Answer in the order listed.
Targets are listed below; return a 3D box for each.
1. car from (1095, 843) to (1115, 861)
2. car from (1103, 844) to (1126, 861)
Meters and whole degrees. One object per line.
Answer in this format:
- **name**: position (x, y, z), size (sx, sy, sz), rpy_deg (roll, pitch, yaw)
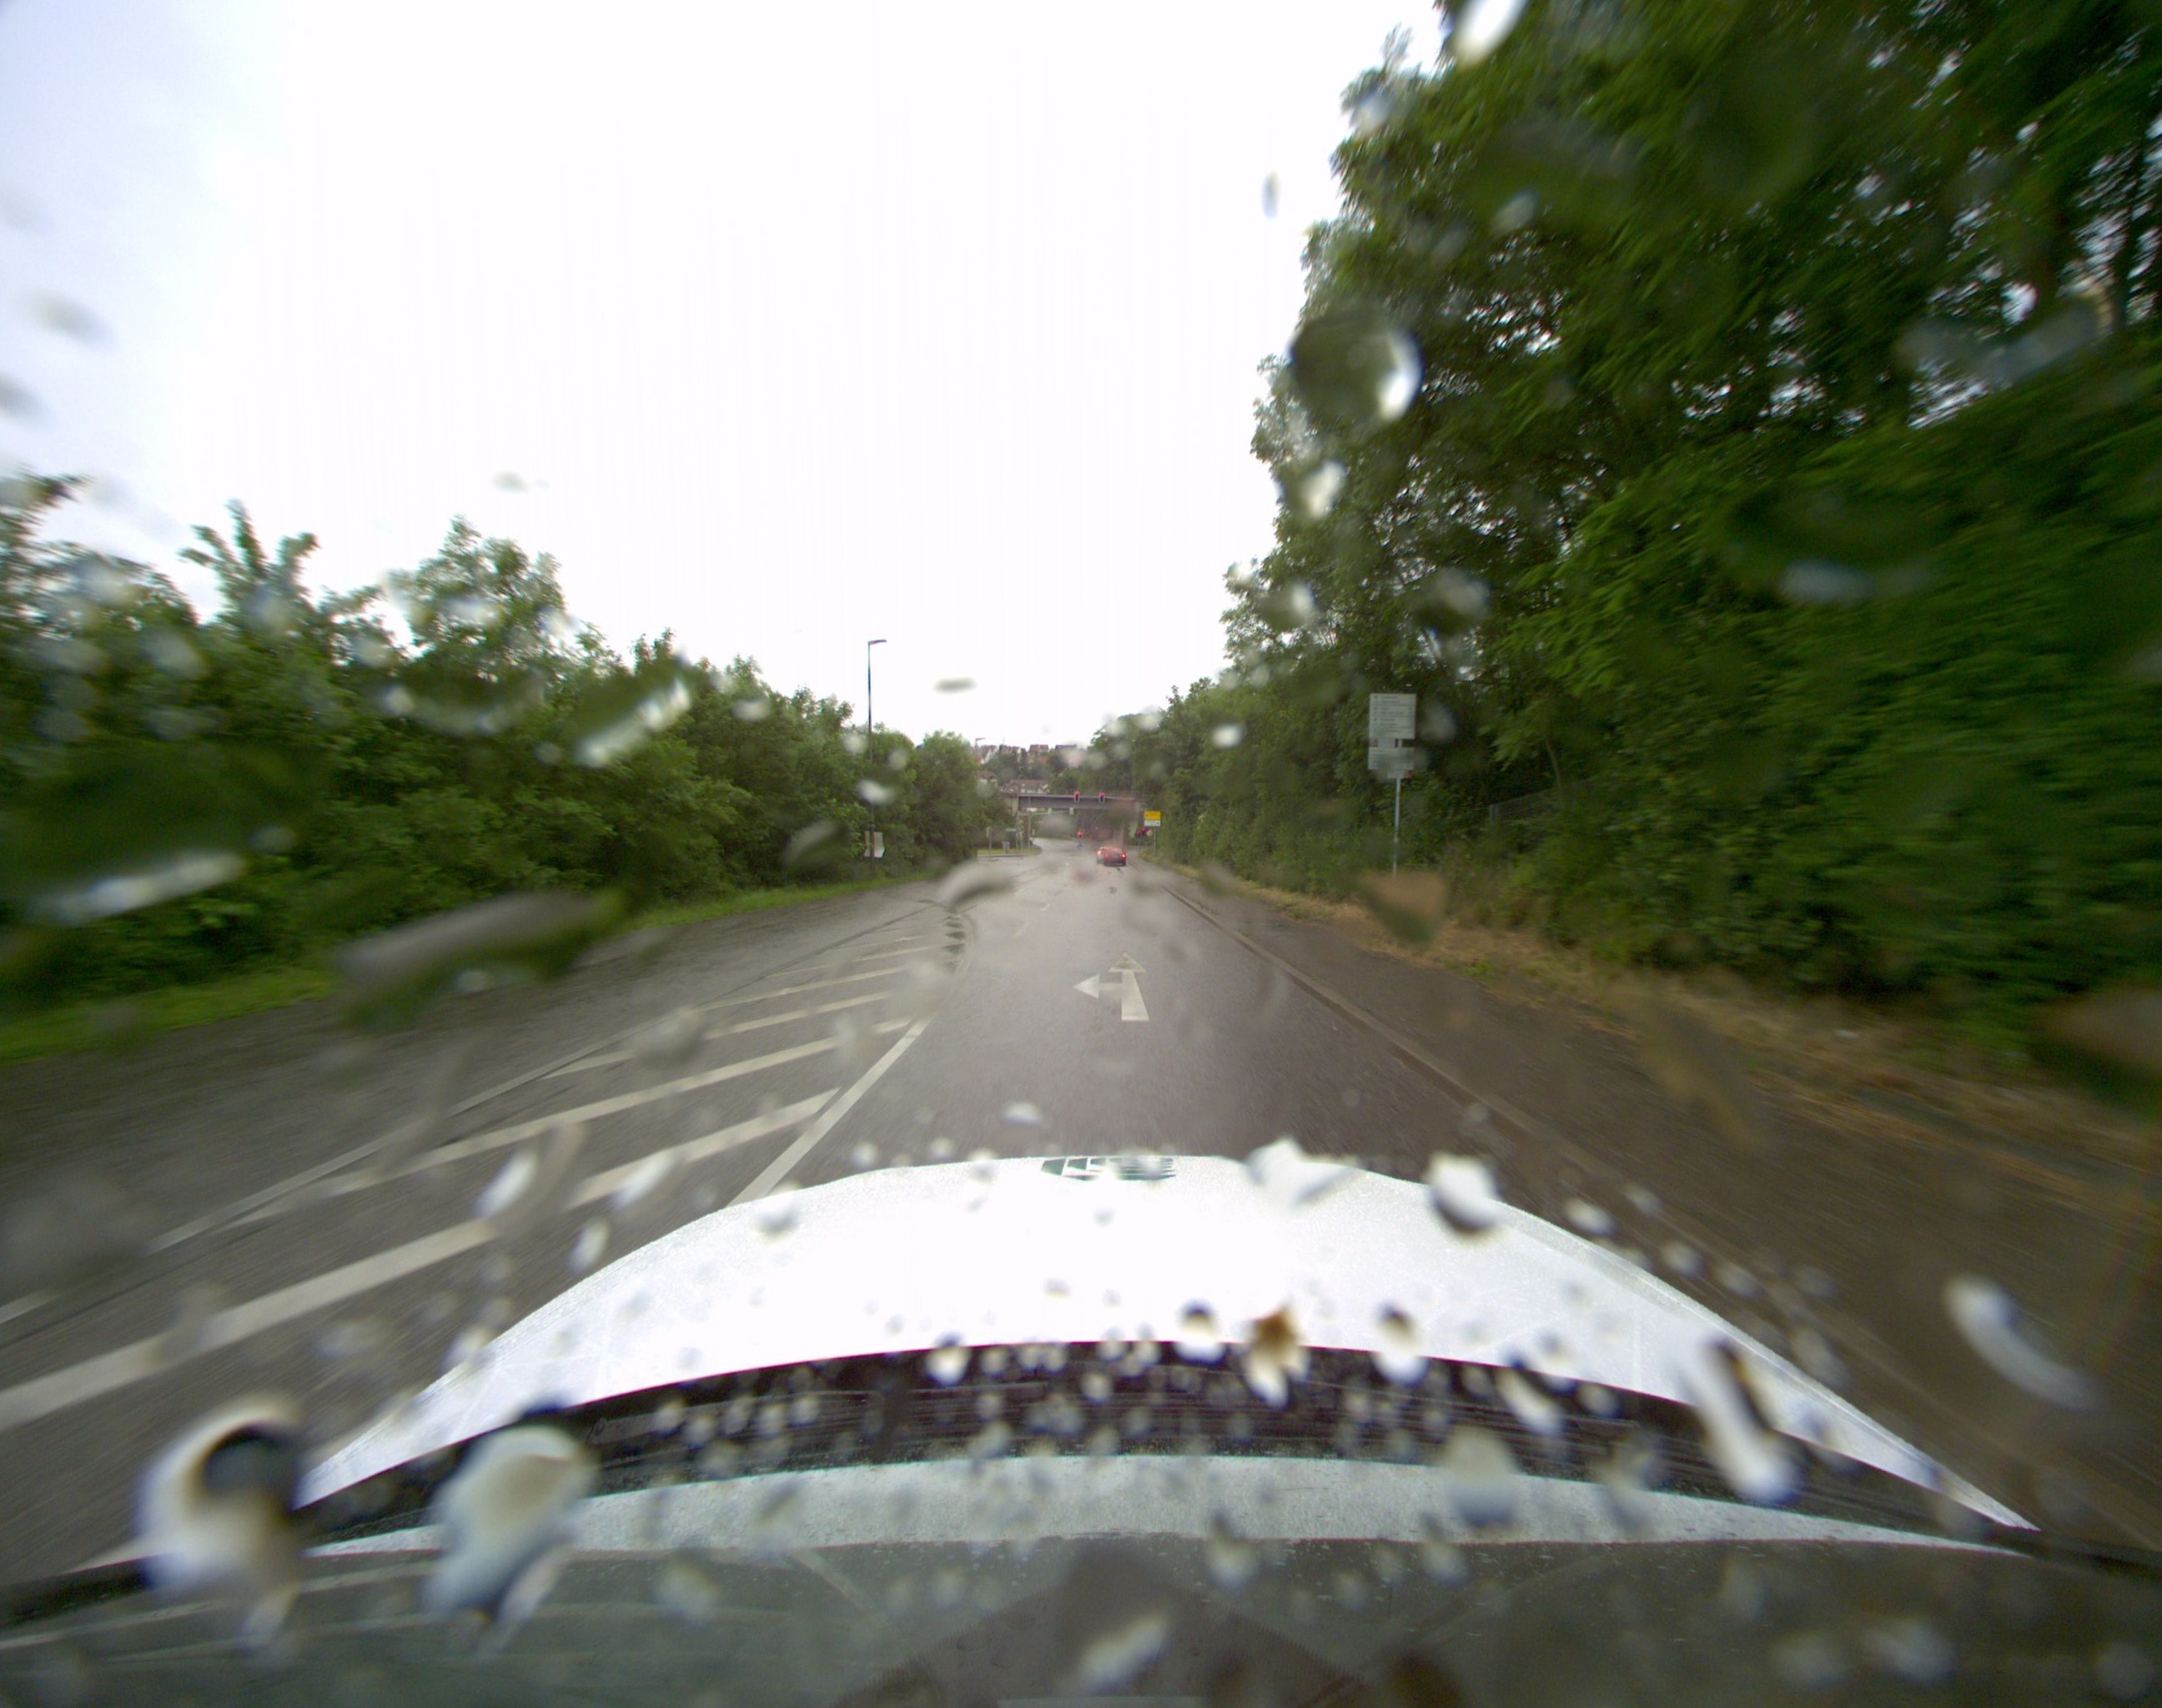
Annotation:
- **car**: position (2.192, -0.158, 72.904), size (1.761, 1.563, 4.002), rpy_deg (-1, 0, 2)
- **car**: position (2.727, -0.128, 66.200), size (1.761, 1.380, 4.002), rpy_deg (-1, 0, 2)
